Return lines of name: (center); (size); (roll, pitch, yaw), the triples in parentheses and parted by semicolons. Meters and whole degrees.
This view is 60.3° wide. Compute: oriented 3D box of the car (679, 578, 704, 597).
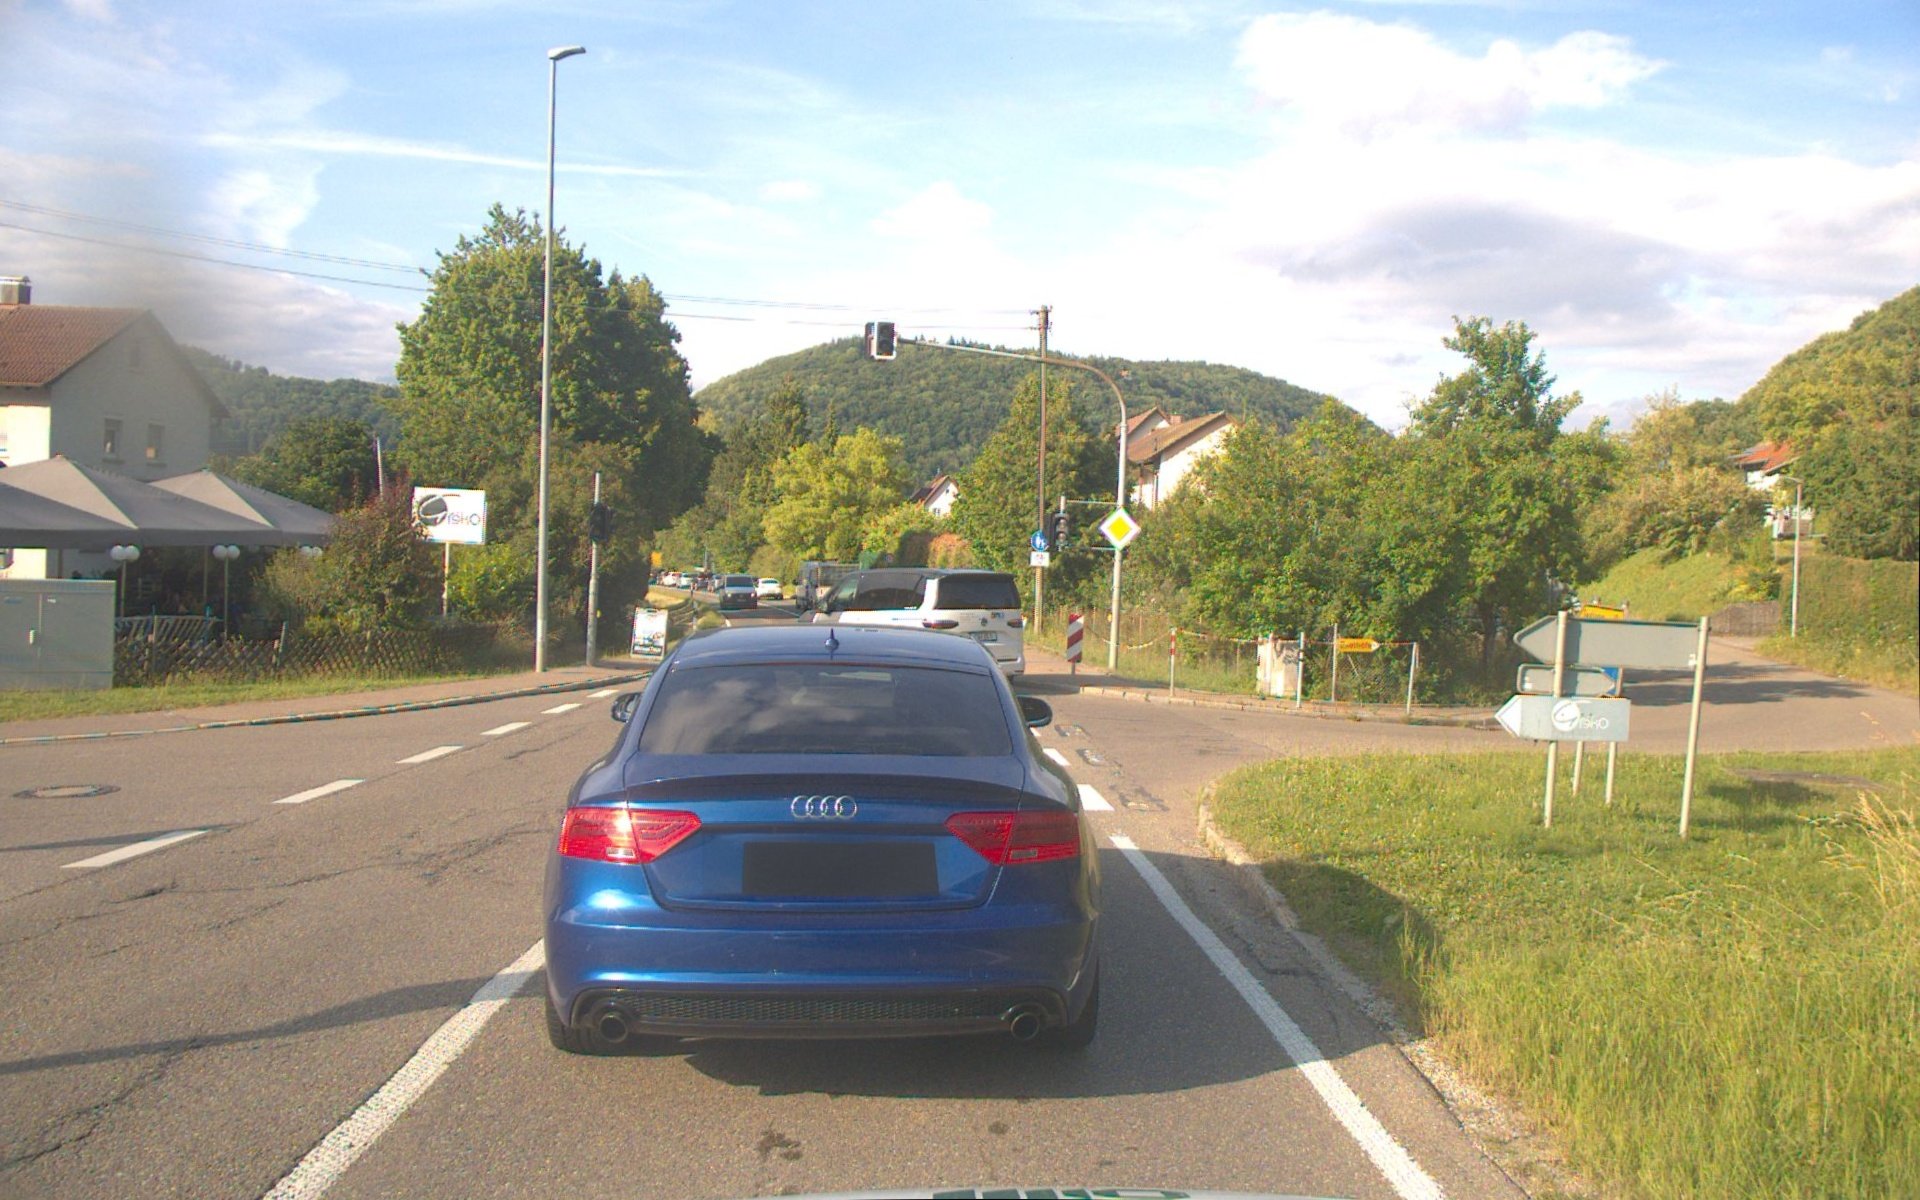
car: (-25.370, -1.165, 156.073); (1.910, 1.713, 3.983); (0, 0, -16)

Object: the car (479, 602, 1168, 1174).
car: (-0.435, 0.749, 6.445); (1.793, 1.433, 4.224); (0, 0, -2)

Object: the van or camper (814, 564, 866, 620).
van or camper: (-5.472, -0.384, 74.999); (2.138, 2.426, 5.362); (0, 1, -7)

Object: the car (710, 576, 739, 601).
car: (-19.850, -0.999, 139.045); (1.960, 2.049, 3.985); (0, 1, -15)

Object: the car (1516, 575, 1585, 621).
car: (22.349, -0.103, 62.750); (1.827, 1.638, 4.576); (2, 1, 12)

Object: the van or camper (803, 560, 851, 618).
van or camper: (-7.187, -0.616, 88.791); (2.369, 2.955, 6.123); (0, 1, -7)

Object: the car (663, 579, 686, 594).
car: (-28.466, -1.372, 164.818); (1.910, 1.449, 3.983); (0, 1, -16)

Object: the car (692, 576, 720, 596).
car: (-22.675, -1.235, 147.698); (2.007, 1.713, 3.983); (1, 1, -16)

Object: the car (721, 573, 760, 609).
car: (-12.396, -0.522, 93.067); (1.957, 1.937, 5.241); (-1, 1, -10)

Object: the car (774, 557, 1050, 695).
car: (-0.892, 0.356, 26.812); (1.980, 1.909, 4.806); (2, 1, -38)

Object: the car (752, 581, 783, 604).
car: (-13.162, -0.517, 112.928); (1.787, 1.579, 3.990); (0, 1, -11)

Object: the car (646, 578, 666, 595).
car: (-32.536, -1.419, 177.150); (1.743, 1.814, 3.983); (0, 1, -16)
